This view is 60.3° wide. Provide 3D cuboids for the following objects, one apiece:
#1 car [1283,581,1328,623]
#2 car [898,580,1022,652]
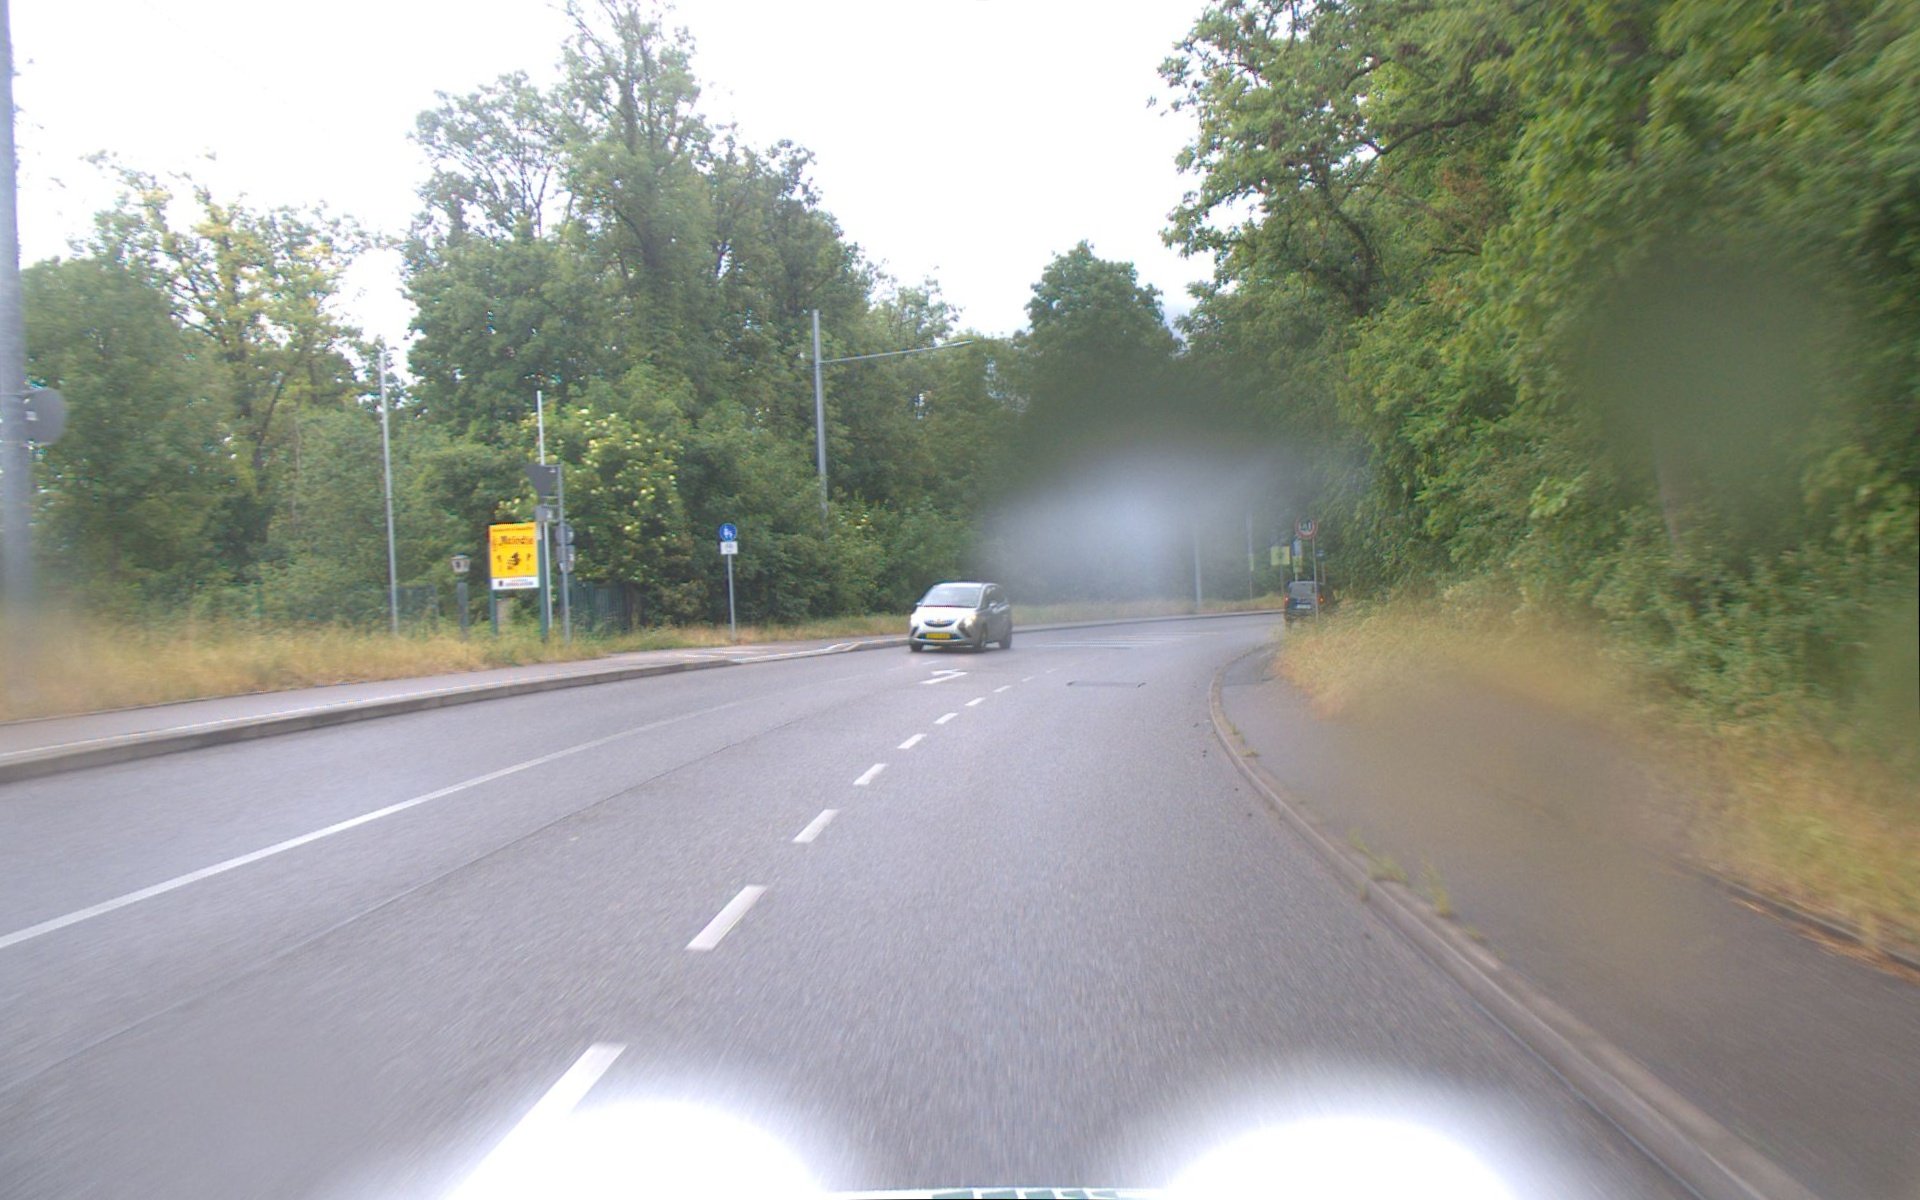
[{"bbox_3d":[13.610,0.070,65.297,1.632,1.621,3.686,1,0,10],"label":"car"},{"bbox_3d":[0.061,0.361,40.404,1.722,1.643,4.420,1,0,18],"label":"car"}]
